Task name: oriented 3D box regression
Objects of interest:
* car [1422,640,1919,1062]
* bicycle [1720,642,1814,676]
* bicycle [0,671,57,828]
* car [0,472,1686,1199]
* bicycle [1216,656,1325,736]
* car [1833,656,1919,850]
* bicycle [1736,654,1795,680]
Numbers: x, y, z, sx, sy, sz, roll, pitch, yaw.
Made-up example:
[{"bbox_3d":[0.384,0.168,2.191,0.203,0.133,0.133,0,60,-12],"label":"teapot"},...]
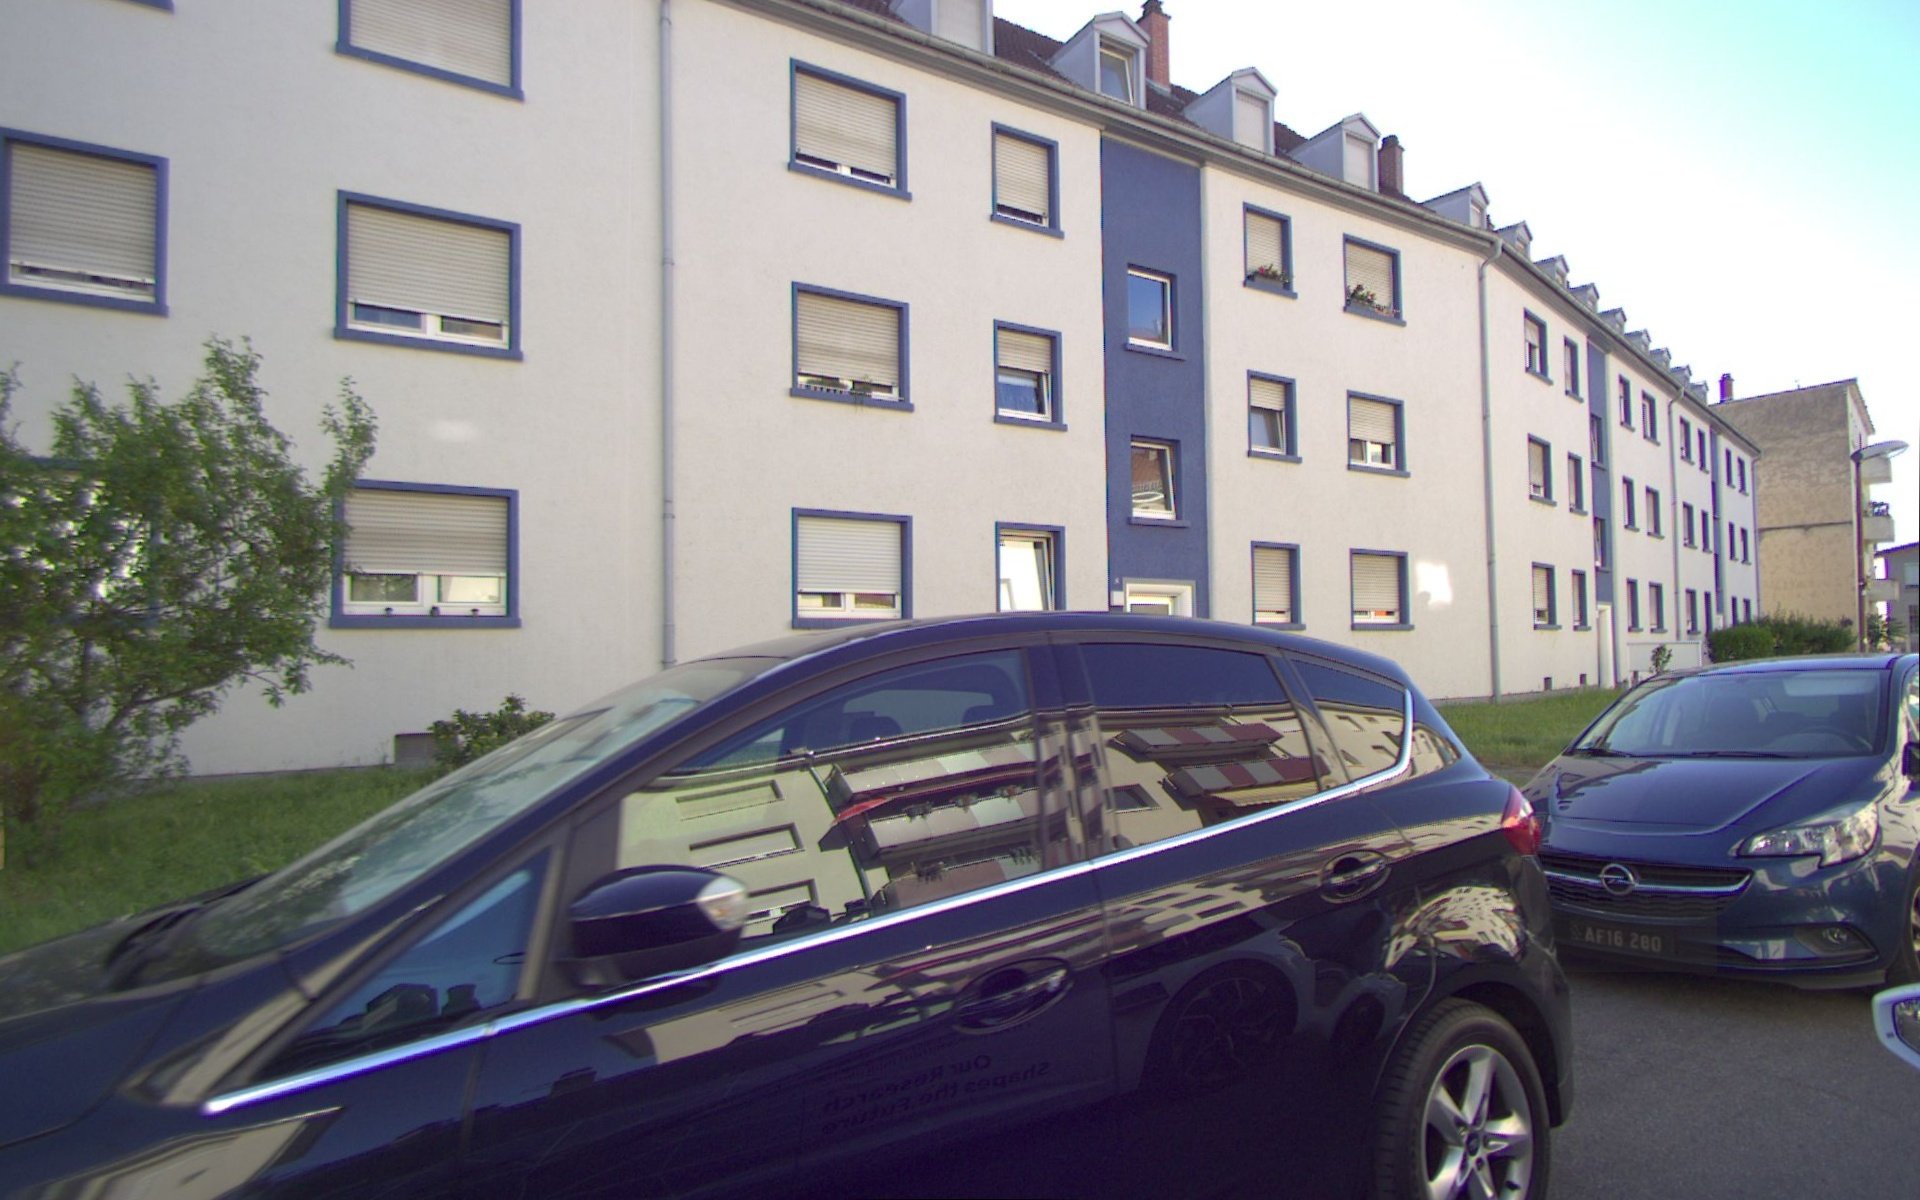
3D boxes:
[{"bbox_3d":[4.440,0.988,5.433,3.979,1.463,1.684,0,-5,-35],"label":"car"},{"bbox_3d":[29.063,2.104,36.218,2.637,1.145,0.770,0,-1,40],"label":"bicycle"},{"bbox_3d":[-7.686,1.166,8.049,0.411,1.167,1.401,1,-4,-32],"label":"bicycle"},{"bbox_3d":[-0.254,0.746,2.454,4.108,1.580,1.687,0,-6,-31],"label":"car"},{"bbox_3d":[4.793,1.462,15.642,0.560,1.092,1.815,0,-1,-25],"label":"bicycle"},{"bbox_3d":[9.103,1.157,8.409,4.114,1.407,1.684,1,-5,-35],"label":"car"},{"bbox_3d":[30.713,2.561,38.307,0.543,0.948,1.633,2,-6,-42],"label":"bicycle"}]
